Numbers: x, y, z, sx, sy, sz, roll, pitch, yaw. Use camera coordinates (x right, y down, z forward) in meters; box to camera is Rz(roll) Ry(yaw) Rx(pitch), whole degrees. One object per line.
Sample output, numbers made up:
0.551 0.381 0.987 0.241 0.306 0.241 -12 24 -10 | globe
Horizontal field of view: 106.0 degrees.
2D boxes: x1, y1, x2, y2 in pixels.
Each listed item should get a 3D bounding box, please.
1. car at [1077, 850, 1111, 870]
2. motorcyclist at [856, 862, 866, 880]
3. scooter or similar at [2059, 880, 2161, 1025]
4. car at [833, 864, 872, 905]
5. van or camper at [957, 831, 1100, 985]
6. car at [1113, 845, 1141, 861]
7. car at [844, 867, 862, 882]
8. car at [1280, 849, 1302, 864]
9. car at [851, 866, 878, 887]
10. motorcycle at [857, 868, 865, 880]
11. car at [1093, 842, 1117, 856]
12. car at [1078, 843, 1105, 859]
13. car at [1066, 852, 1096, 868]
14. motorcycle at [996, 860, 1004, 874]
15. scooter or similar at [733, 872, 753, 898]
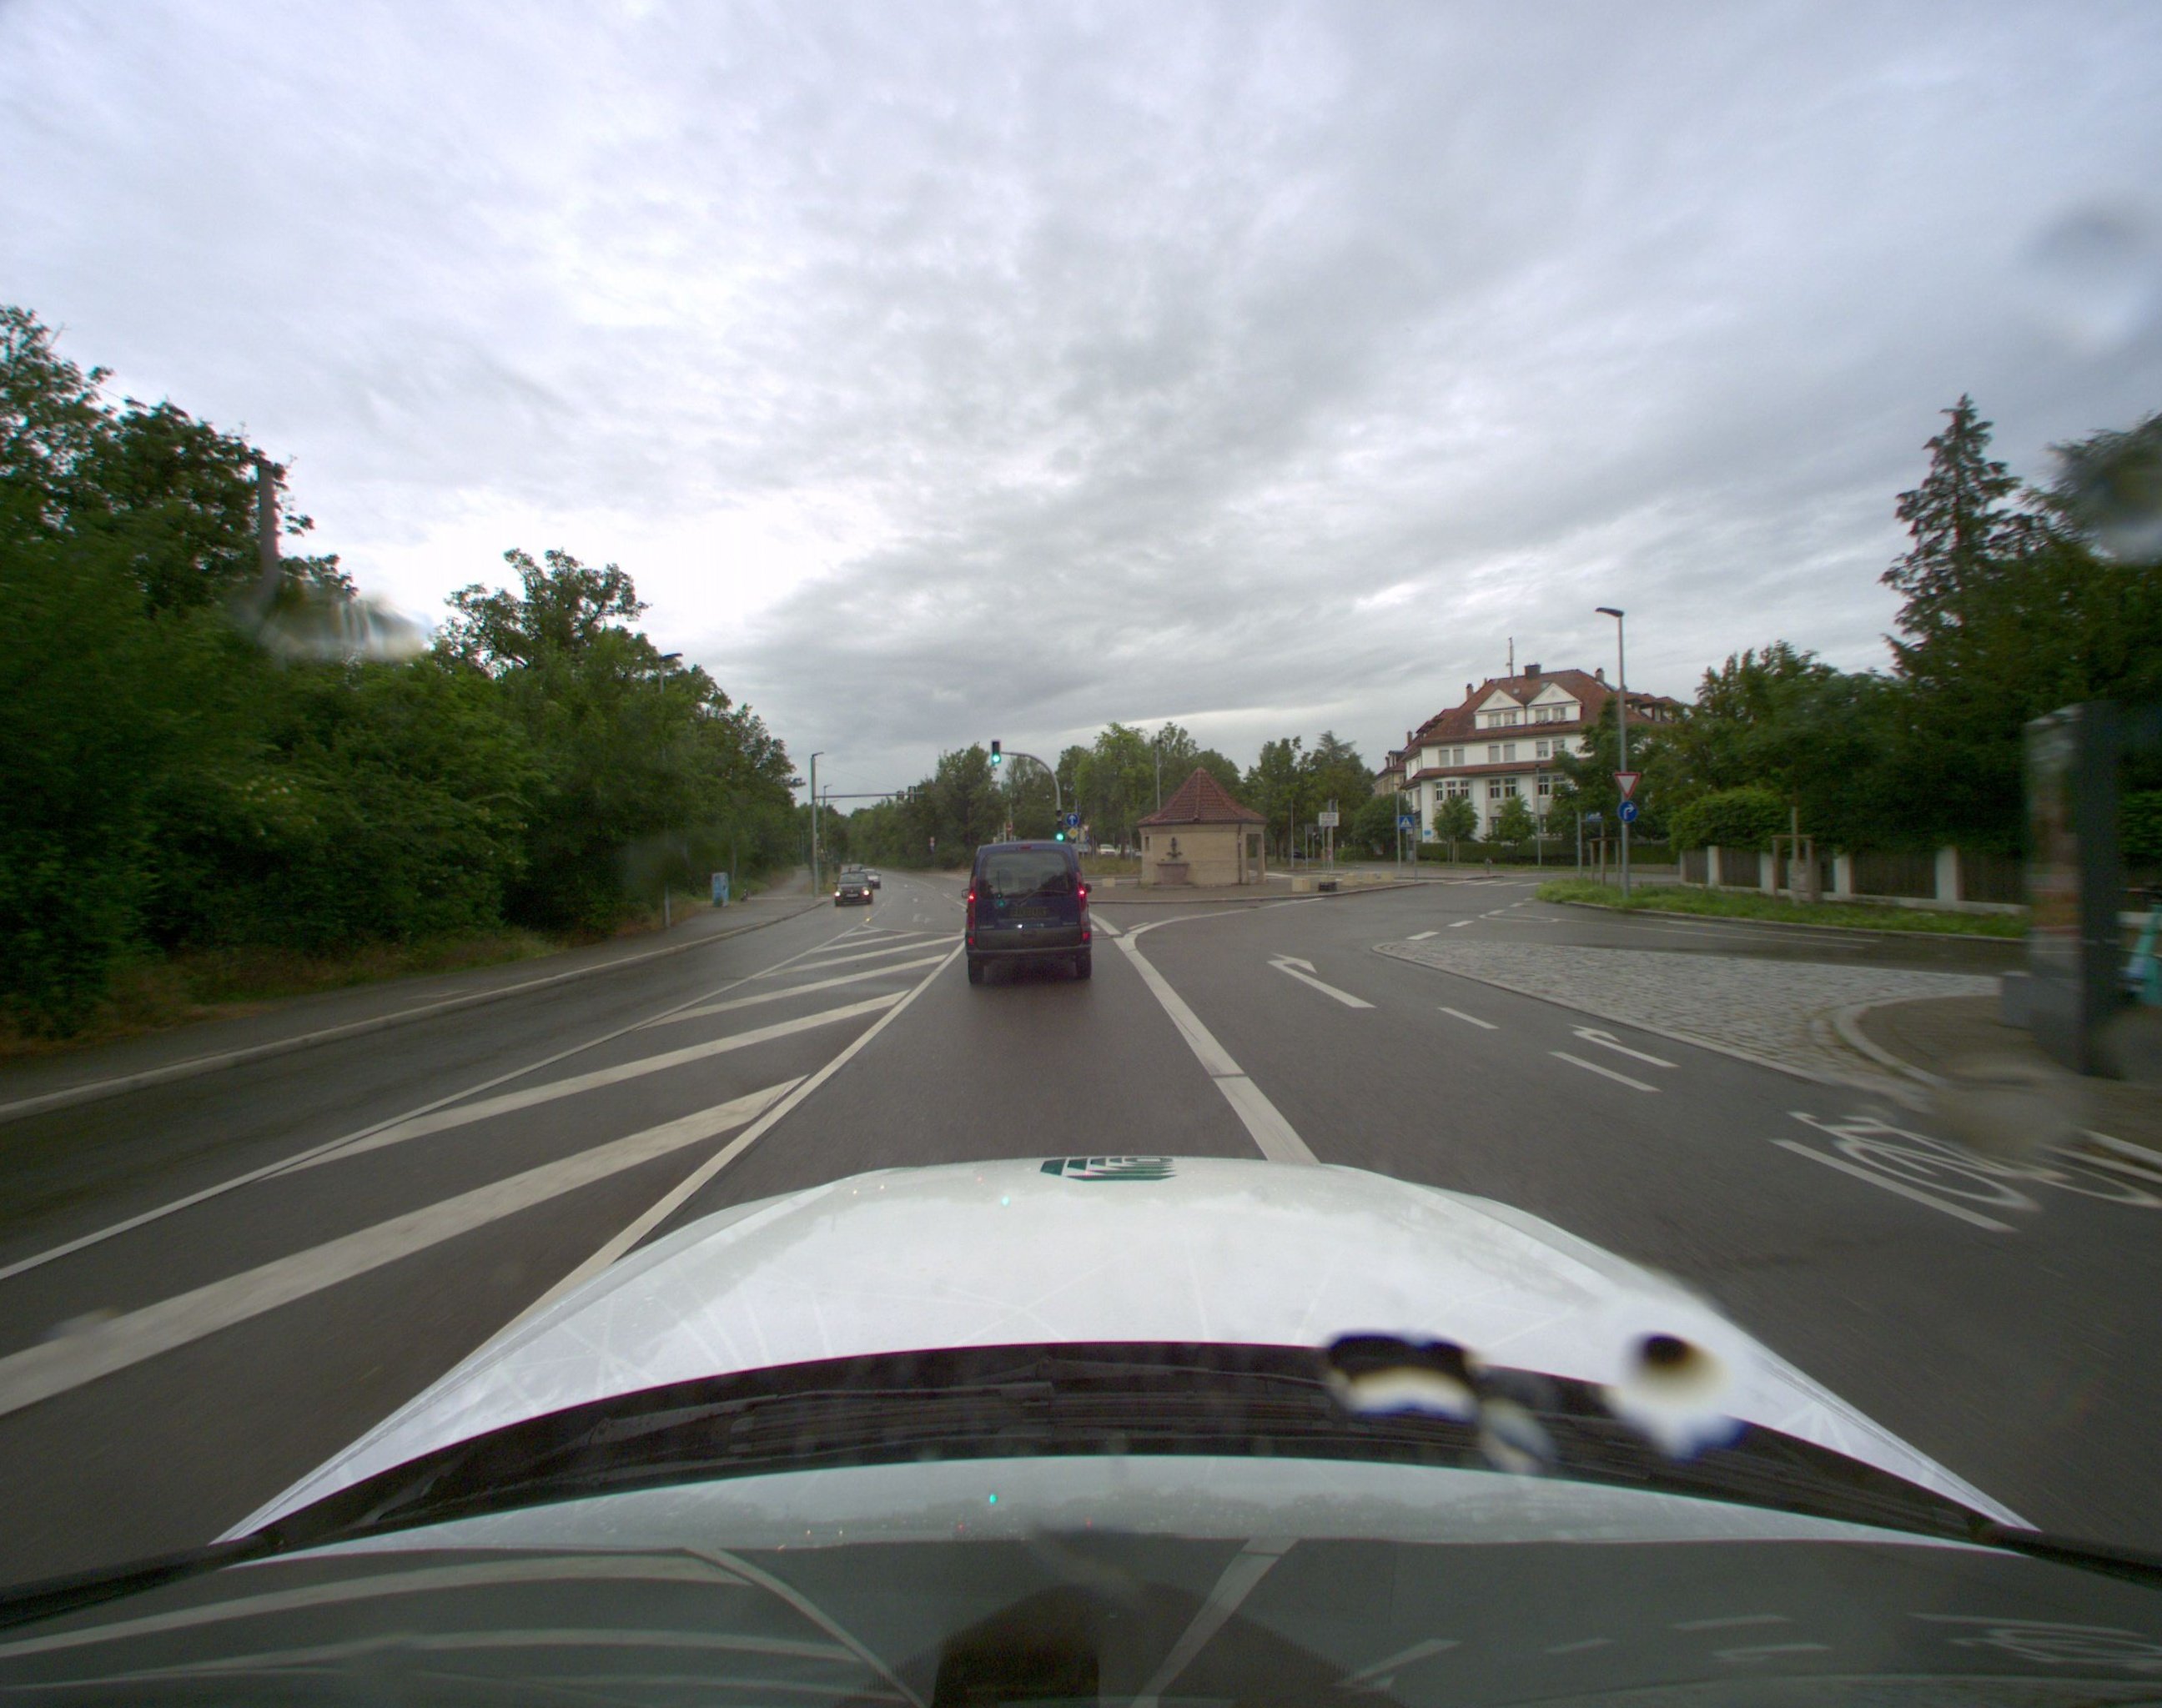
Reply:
1.146 0.541 73.447 1.997 1.662 3.980 1 0 -15 | car
-20.173 1.570 74.688 0.746 1.632 0.923 -3 0 -12 | motorcyclist
9.560 0.849 7.141 1.343 1.207 0.525 1 -1 0 | scooter or similar
-10.719 1.404 38.334 1.578 1.730 3.756 -3 0 -14 | car
-0.724 0.670 11.932 1.708 1.826 3.996 -1 -1 -3 | van or camper
4.541 -0.068 80.991 1.885 1.480 4.054 0 -1 -10 | car
-26.092 2.361 93.322 1.792 1.581 4.539 -3 0 -14 | car
27.851 0.342 107.964 1.986 2.014 4.002 -1 -1 2 | car
-15.926 1.638 59.977 1.743 1.352 4.189 -3 0 -14 | car
-20.209 1.864 74.783 0.594 1.050 1.991 -3 0 -11 | motorcycle
2.673 -0.560 91.455 1.886 1.480 4.054 0 -1 -10 | car
1.098 -0.271 87.737 1.994 1.662 4.455 1 0 -11 | car
-0.027 0.567 79.460 1.997 1.480 4.263 0 -1 -15 | car
-7.737 1.223 77.862 0.587 1.289 1.537 -2 0 -1 | motorcycle
-16.428 1.491 39.644 0.517 1.212 1.465 -1 0 -8 | scooter or similar
